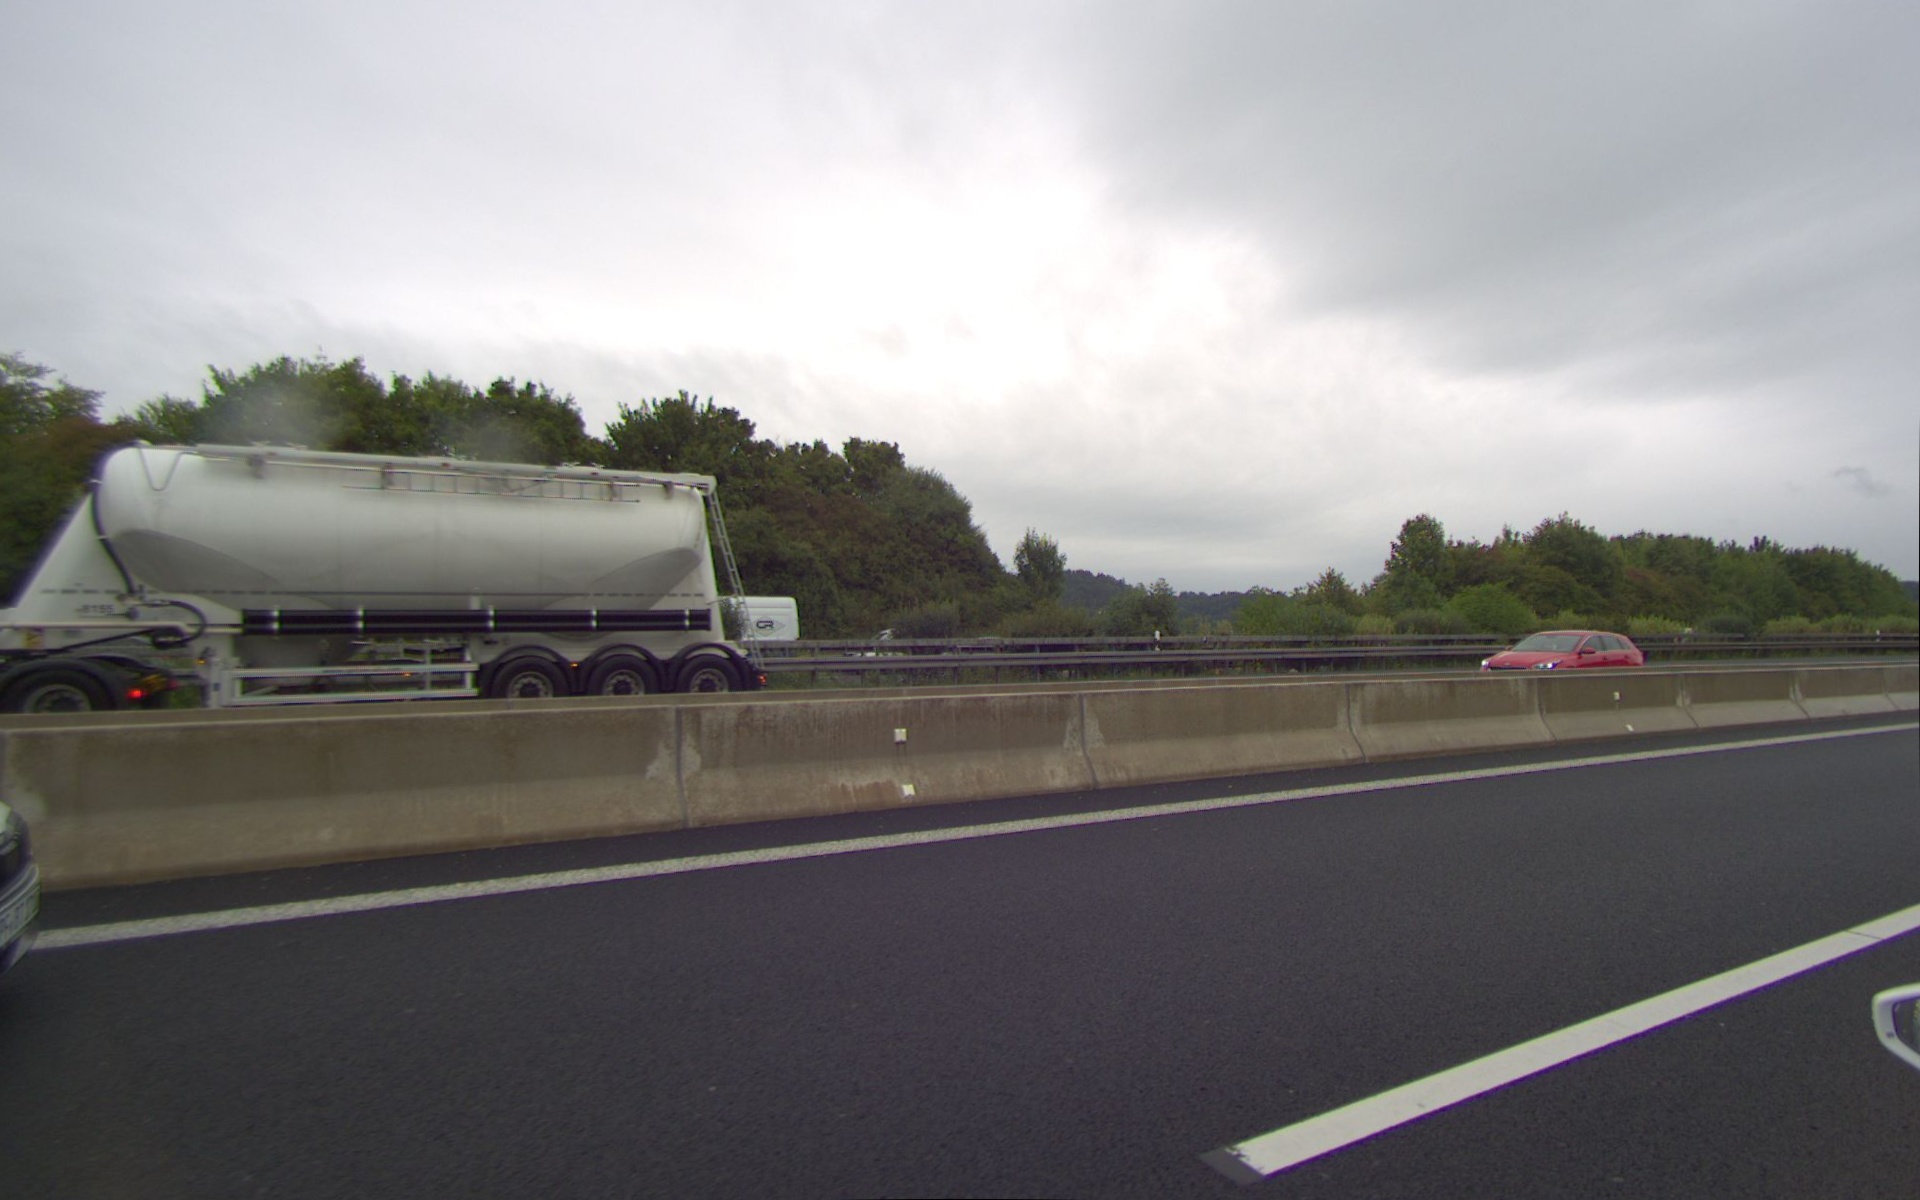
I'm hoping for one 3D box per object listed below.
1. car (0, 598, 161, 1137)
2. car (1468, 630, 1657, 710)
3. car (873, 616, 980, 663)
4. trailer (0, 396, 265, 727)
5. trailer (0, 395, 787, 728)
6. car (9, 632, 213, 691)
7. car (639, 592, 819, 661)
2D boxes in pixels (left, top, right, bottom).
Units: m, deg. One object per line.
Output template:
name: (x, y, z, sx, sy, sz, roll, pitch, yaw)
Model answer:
car: (-5.072, 0.683, 2.362, 4.721, 1.475, 1.810, 2, -1, -30)
car: (13.575, 1.520, 22.582, 4.305, 1.601, 1.800, 2, -1, -30)
car: (-1.302, 1.561, 40.093, 3.955, 1.793, 1.695, 2, -1, -31)
trailer: (-12.467, -0.453, 12.093, 6.414, 3.765, 2.625, 2, -1, -30)
trailer: (-8.071, -0.330, 14.591, 10.681, 3.786, 2.624, 2, -1, -30)
car: (-22.896, 1.631, 27.297, 3.954, 1.475, 1.667, 2, -1, -31)
car: (-7.292, 0.848, 31.893, 5.238, 2.040, 1.864, 2, -1, -31)
